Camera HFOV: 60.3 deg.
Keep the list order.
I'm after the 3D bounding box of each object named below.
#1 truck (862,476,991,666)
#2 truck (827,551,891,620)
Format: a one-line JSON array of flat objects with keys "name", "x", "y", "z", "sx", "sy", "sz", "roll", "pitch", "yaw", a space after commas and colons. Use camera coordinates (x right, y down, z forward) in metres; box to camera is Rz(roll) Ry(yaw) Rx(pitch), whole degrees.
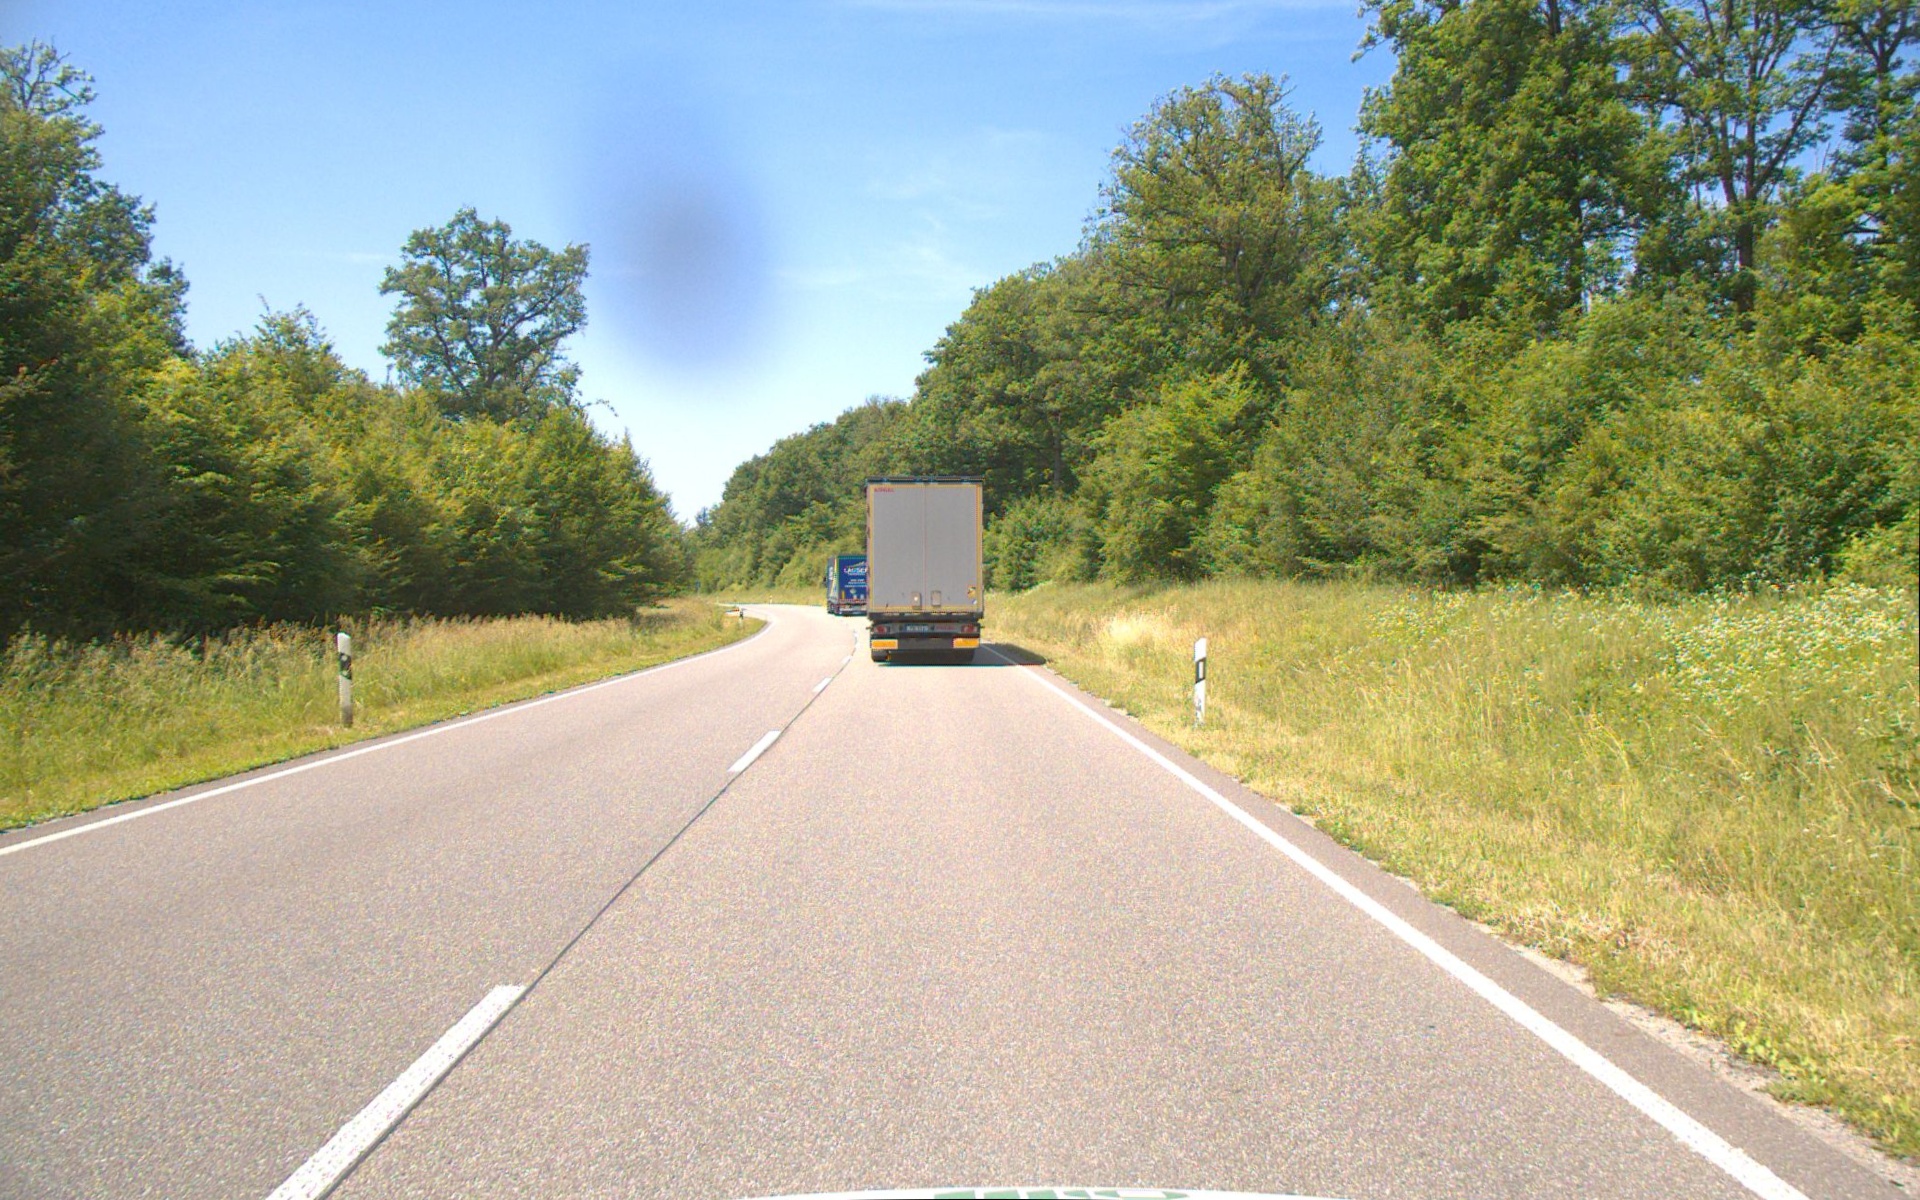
[{"name": "truck", "x": -0.893, "y": -0.640, "z": 41.226, "sx": 2.705, "sy": 4.016, "sz": 12.193, "roll": -1, "pitch": 0, "yaw": -2}, {"name": "truck", "x": -7.191, "y": -0.993, "z": 115.327, "sx": 3.721, "sy": 4.449, "sz": 14.898, "roll": 0, "pitch": 0, "yaw": -6}]
